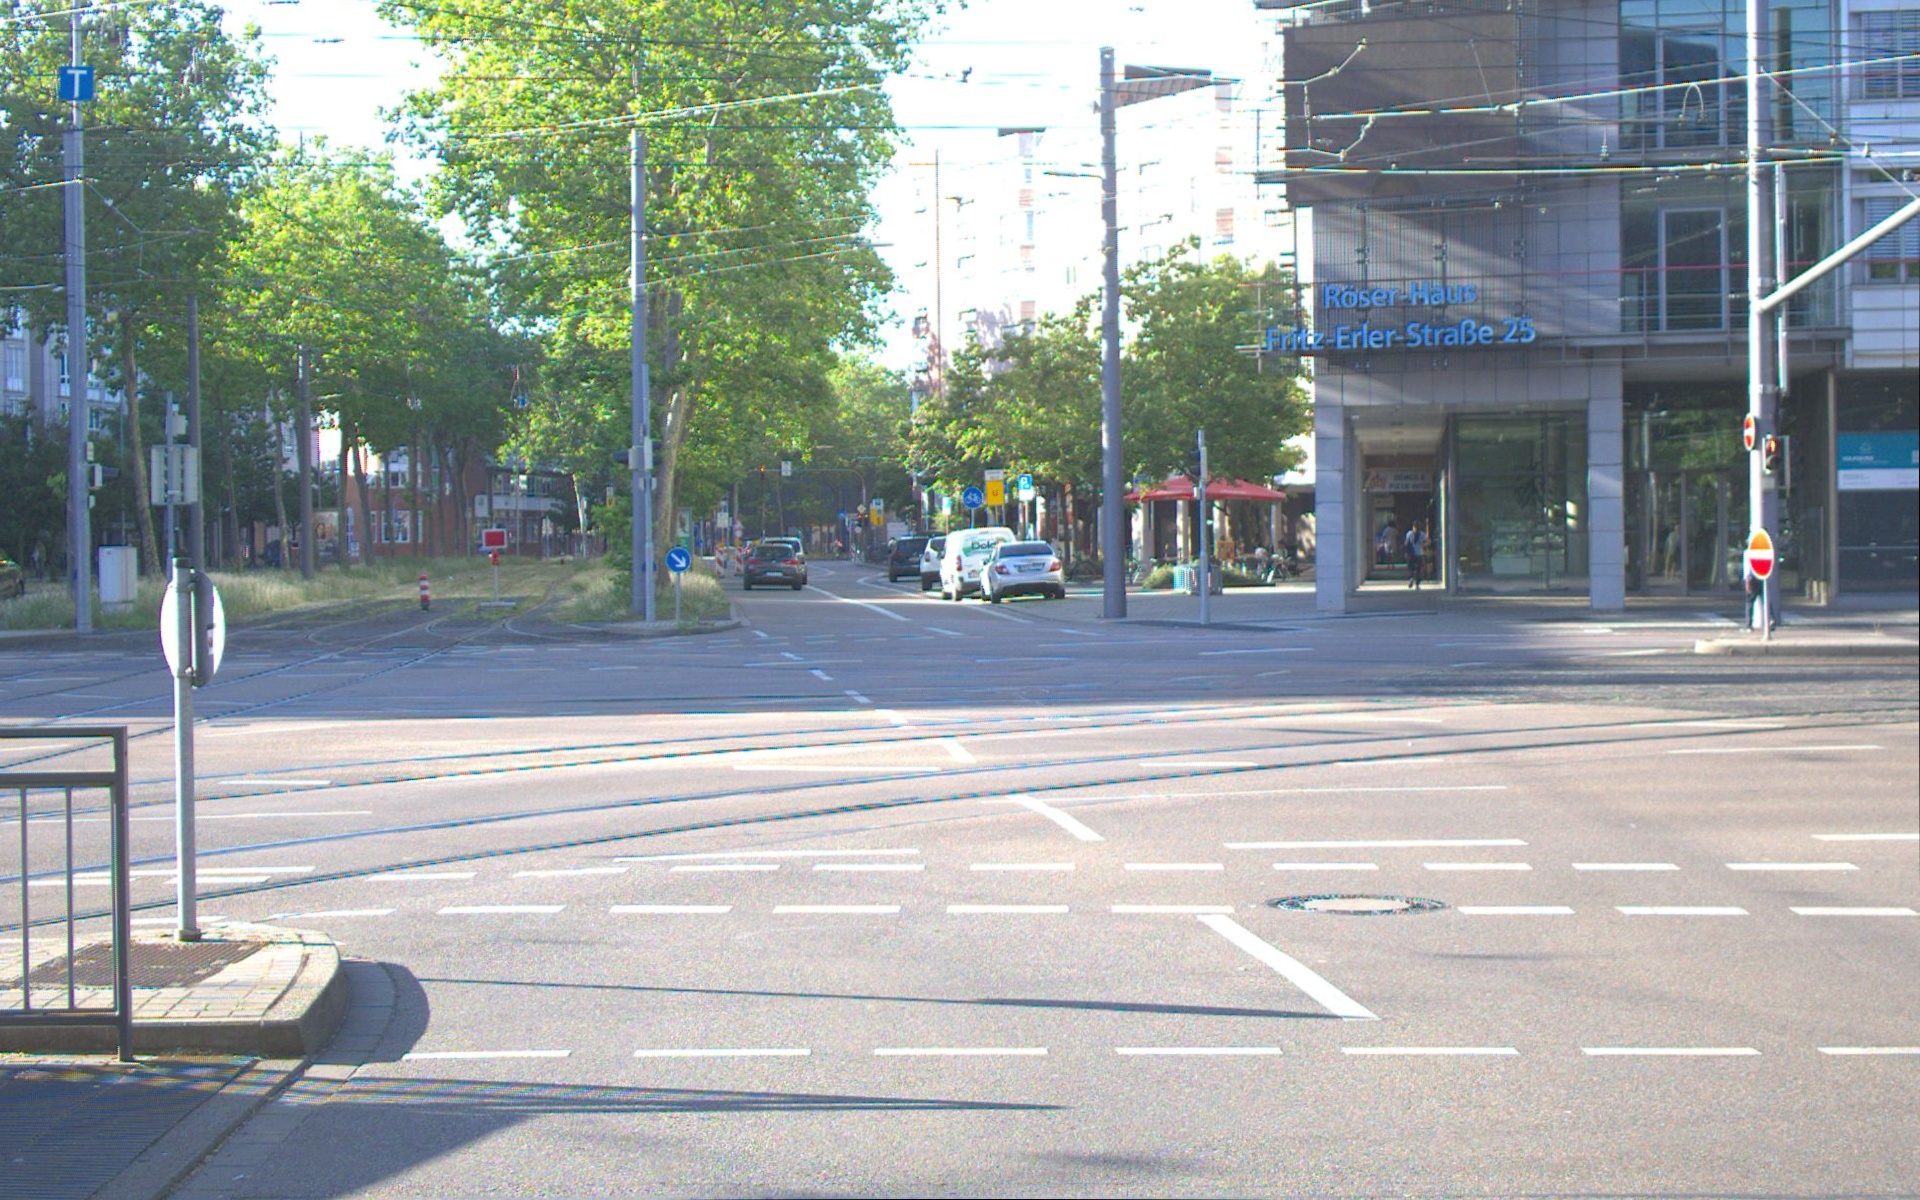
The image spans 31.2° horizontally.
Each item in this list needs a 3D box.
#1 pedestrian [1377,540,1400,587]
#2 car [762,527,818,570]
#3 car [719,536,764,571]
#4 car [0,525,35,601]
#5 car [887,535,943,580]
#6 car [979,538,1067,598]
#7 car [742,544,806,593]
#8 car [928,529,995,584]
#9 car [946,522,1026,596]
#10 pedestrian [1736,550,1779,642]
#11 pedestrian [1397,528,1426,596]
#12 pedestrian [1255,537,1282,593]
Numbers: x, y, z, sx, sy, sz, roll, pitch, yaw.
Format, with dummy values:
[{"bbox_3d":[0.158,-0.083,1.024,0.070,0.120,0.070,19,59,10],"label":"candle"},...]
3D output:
[{"bbox_3d":[15.515,-1.325,124.538,0.744,1.708,0.612,-1,1,-1],"label":"pedestrian"},{"bbox_3d":[-5.911,-1.810,119.840,1.797,1.437,4.000,-1,1,-1],"label":"car"},{"bbox_3d":[-9.328,-1.973,146.985,1.797,1.437,4.000,1,1,-2],"label":"car"},{"bbox_3d":[-21.664,-0.797,74.924,1.993,1.634,4.000,-1,1,-1],"label":"car"},{"bbox_3d":[-1.639,-1.591,126.666,1.993,1.612,4.000,-1,1,0],"label":"car"},{"bbox_3d":[1.494,-0.782,82.774,1.993,1.371,4.000,-1,1,-1],"label":"car"},{"bbox_3d":[-5.751,-0.992,106.719,1.797,1.437,4.000,-1,1,-1],"label":"car"},{"bbox_3d":[0.038,-1.353,105.215,1.993,1.612,4.000,-1,1,0],"label":"car"},{"bbox_3d":[0.650,-1.091,89.570,1.993,1.853,4.000,-1,1,-1],"label":"car"},{"bbox_3d":[13.119,-0.067,56.578,0.612,1.502,0.579,-1,1,7],"label":"pedestrian"},{"bbox_3d":[10.161,-0.858,77.408,0.612,1.502,0.579,-1,1,7],"label":"pedestrian"},{"bbox_3d":[9.431,-1.067,104.959,0.744,1.708,0.612,-1,1,-1],"label":"pedestrian"}]
